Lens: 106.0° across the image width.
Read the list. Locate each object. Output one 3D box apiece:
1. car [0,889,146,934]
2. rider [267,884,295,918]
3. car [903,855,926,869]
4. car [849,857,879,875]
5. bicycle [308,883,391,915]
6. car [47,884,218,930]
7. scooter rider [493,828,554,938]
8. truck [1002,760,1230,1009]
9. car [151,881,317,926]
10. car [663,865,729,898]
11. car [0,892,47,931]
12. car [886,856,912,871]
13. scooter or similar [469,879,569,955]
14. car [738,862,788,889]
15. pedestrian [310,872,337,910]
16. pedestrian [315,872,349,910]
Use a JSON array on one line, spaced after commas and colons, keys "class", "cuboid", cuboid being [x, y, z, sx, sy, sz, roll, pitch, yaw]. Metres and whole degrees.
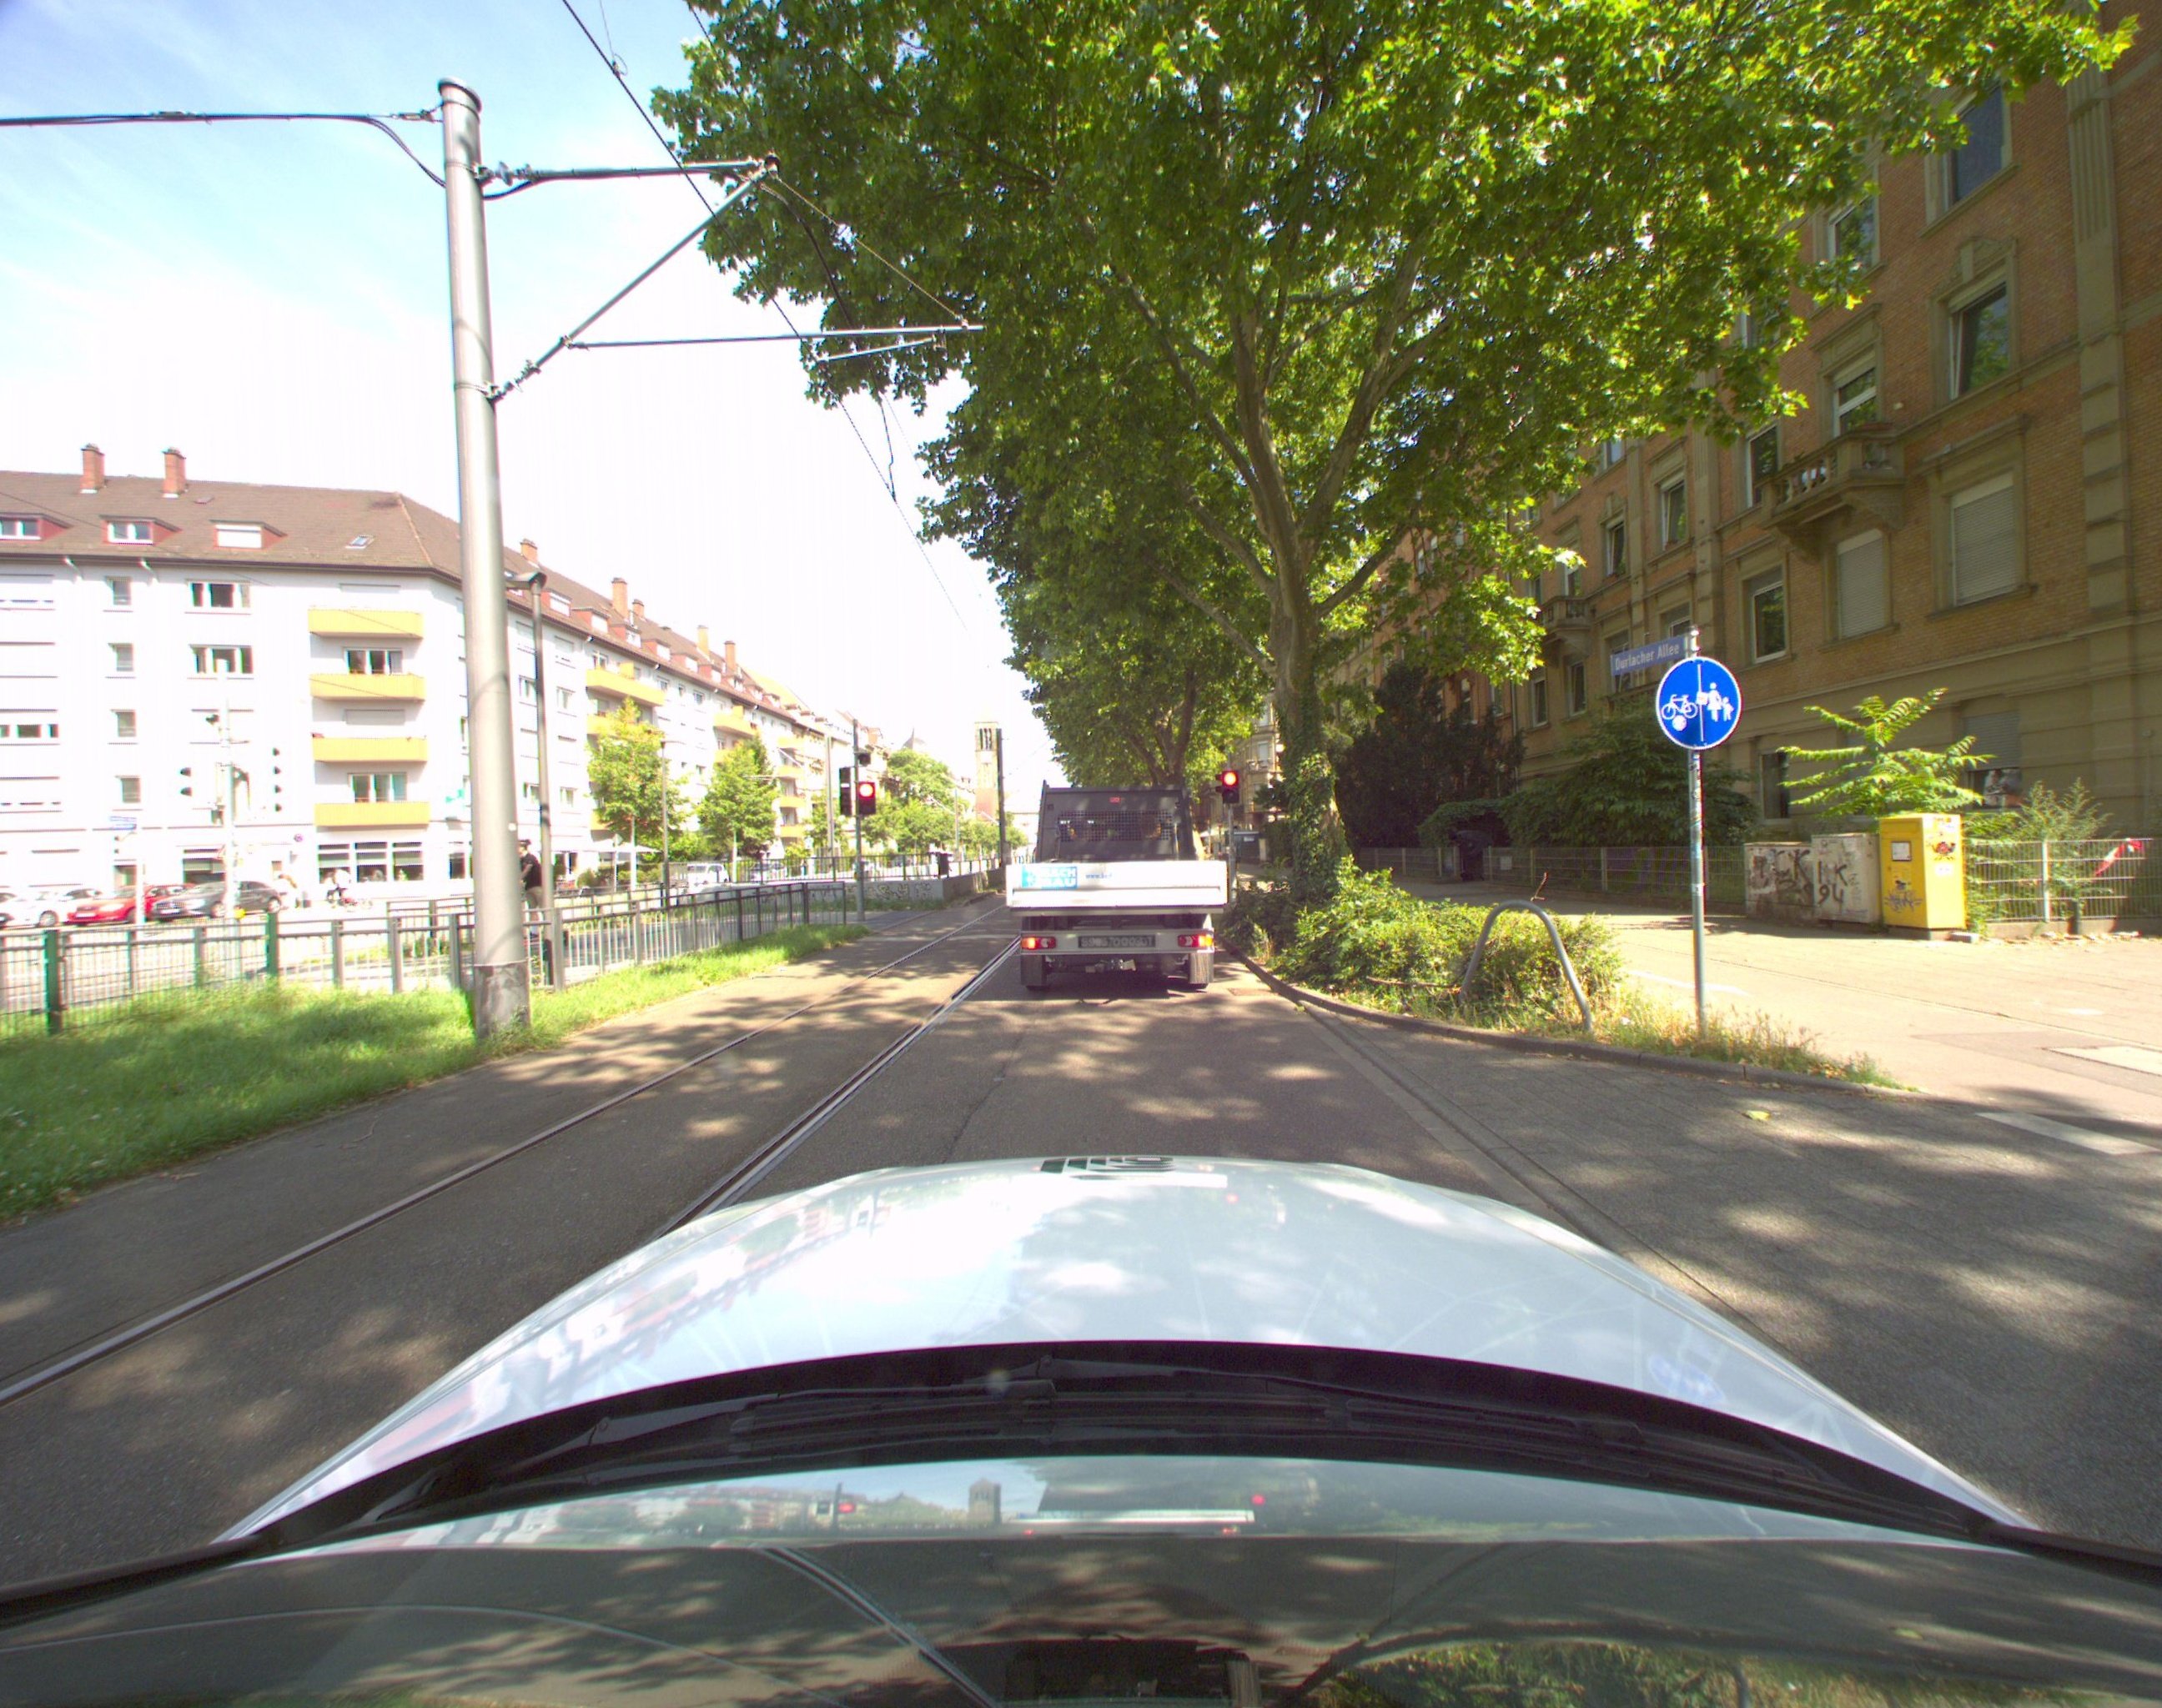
[{"class": "car", "cuboid": [-39.277, 2.190, 31.353, 1.930, 1.406, 4.158, -2, 0, -6]}, {"class": "rider", "cuboid": [-34.645, 2.012, 35.277, 0.624, 1.423, 0.587, -2, 0, -15]}, {"class": "car", "cuboid": [-19.392, 0.957, 94.974, 1.764, 1.498, 4.000, -2, 0, 0]}, {"class": "car", "cuboid": [-19.607, 1.059, 73.763, 1.767, 1.498, 3.994, -2, 0, -4]}, {"class": "bicycle", "cuboid": [-30.073, 1.834, 33.564, 0.908, 1.137, 2.807, -2, 0, -2]}, {"class": "car", "cuboid": [-36.493, 2.006, 31.523, 1.930, 1.406, 4.158, -2, 0, -6]}, {"class": "scooter rider", "cuboid": [-9.827, 0.498, 14.358, 0.655, 1.867, 0.673, -2, 0, 38]}, {"class": "truck", "cuboid": [0.433, 0.273, 9.832, 2.130, 2.319, 4.404, 0, 0, 3]}, {"class": "car", "cuboid": [-33.136, 1.880, 32.098, 1.830, 1.376, 4.637, -2, 0, -4]}, {"class": "car", "cuboid": [-20.515, 1.406, 43.542, 1.767, 1.498, 3.994, -4, 0, -4]}, {"class": "car", "cuboid": [-41.831, 2.266, 30.148, 1.930, 1.406, 4.158, -2, 0, -6]}, {"class": "car", "cuboid": [-19.468, 0.995, 87.134, 1.764, 1.498, 4.000, -2, 0, 0]}, {"class": "scooter or similar", "cuboid": [-9.853, 1.076, 14.312, 0.649, 1.204, 1.279, -2, 0, 38]}, {"class": "car", "cuboid": [-20.303, 1.362, 52.124, 1.767, 1.498, 3.994, -4, 0, -4]}, {"class": "pedestrian", "cuboid": [-32.712, 1.583, 35.174, 0.690, 1.572, 0.542, -2, 0, -22]}, {"class": "pedestrian", "cuboid": [-32.900, 1.613, 35.770, 0.861, 1.572, 0.685, -2, 0, -22]}]
